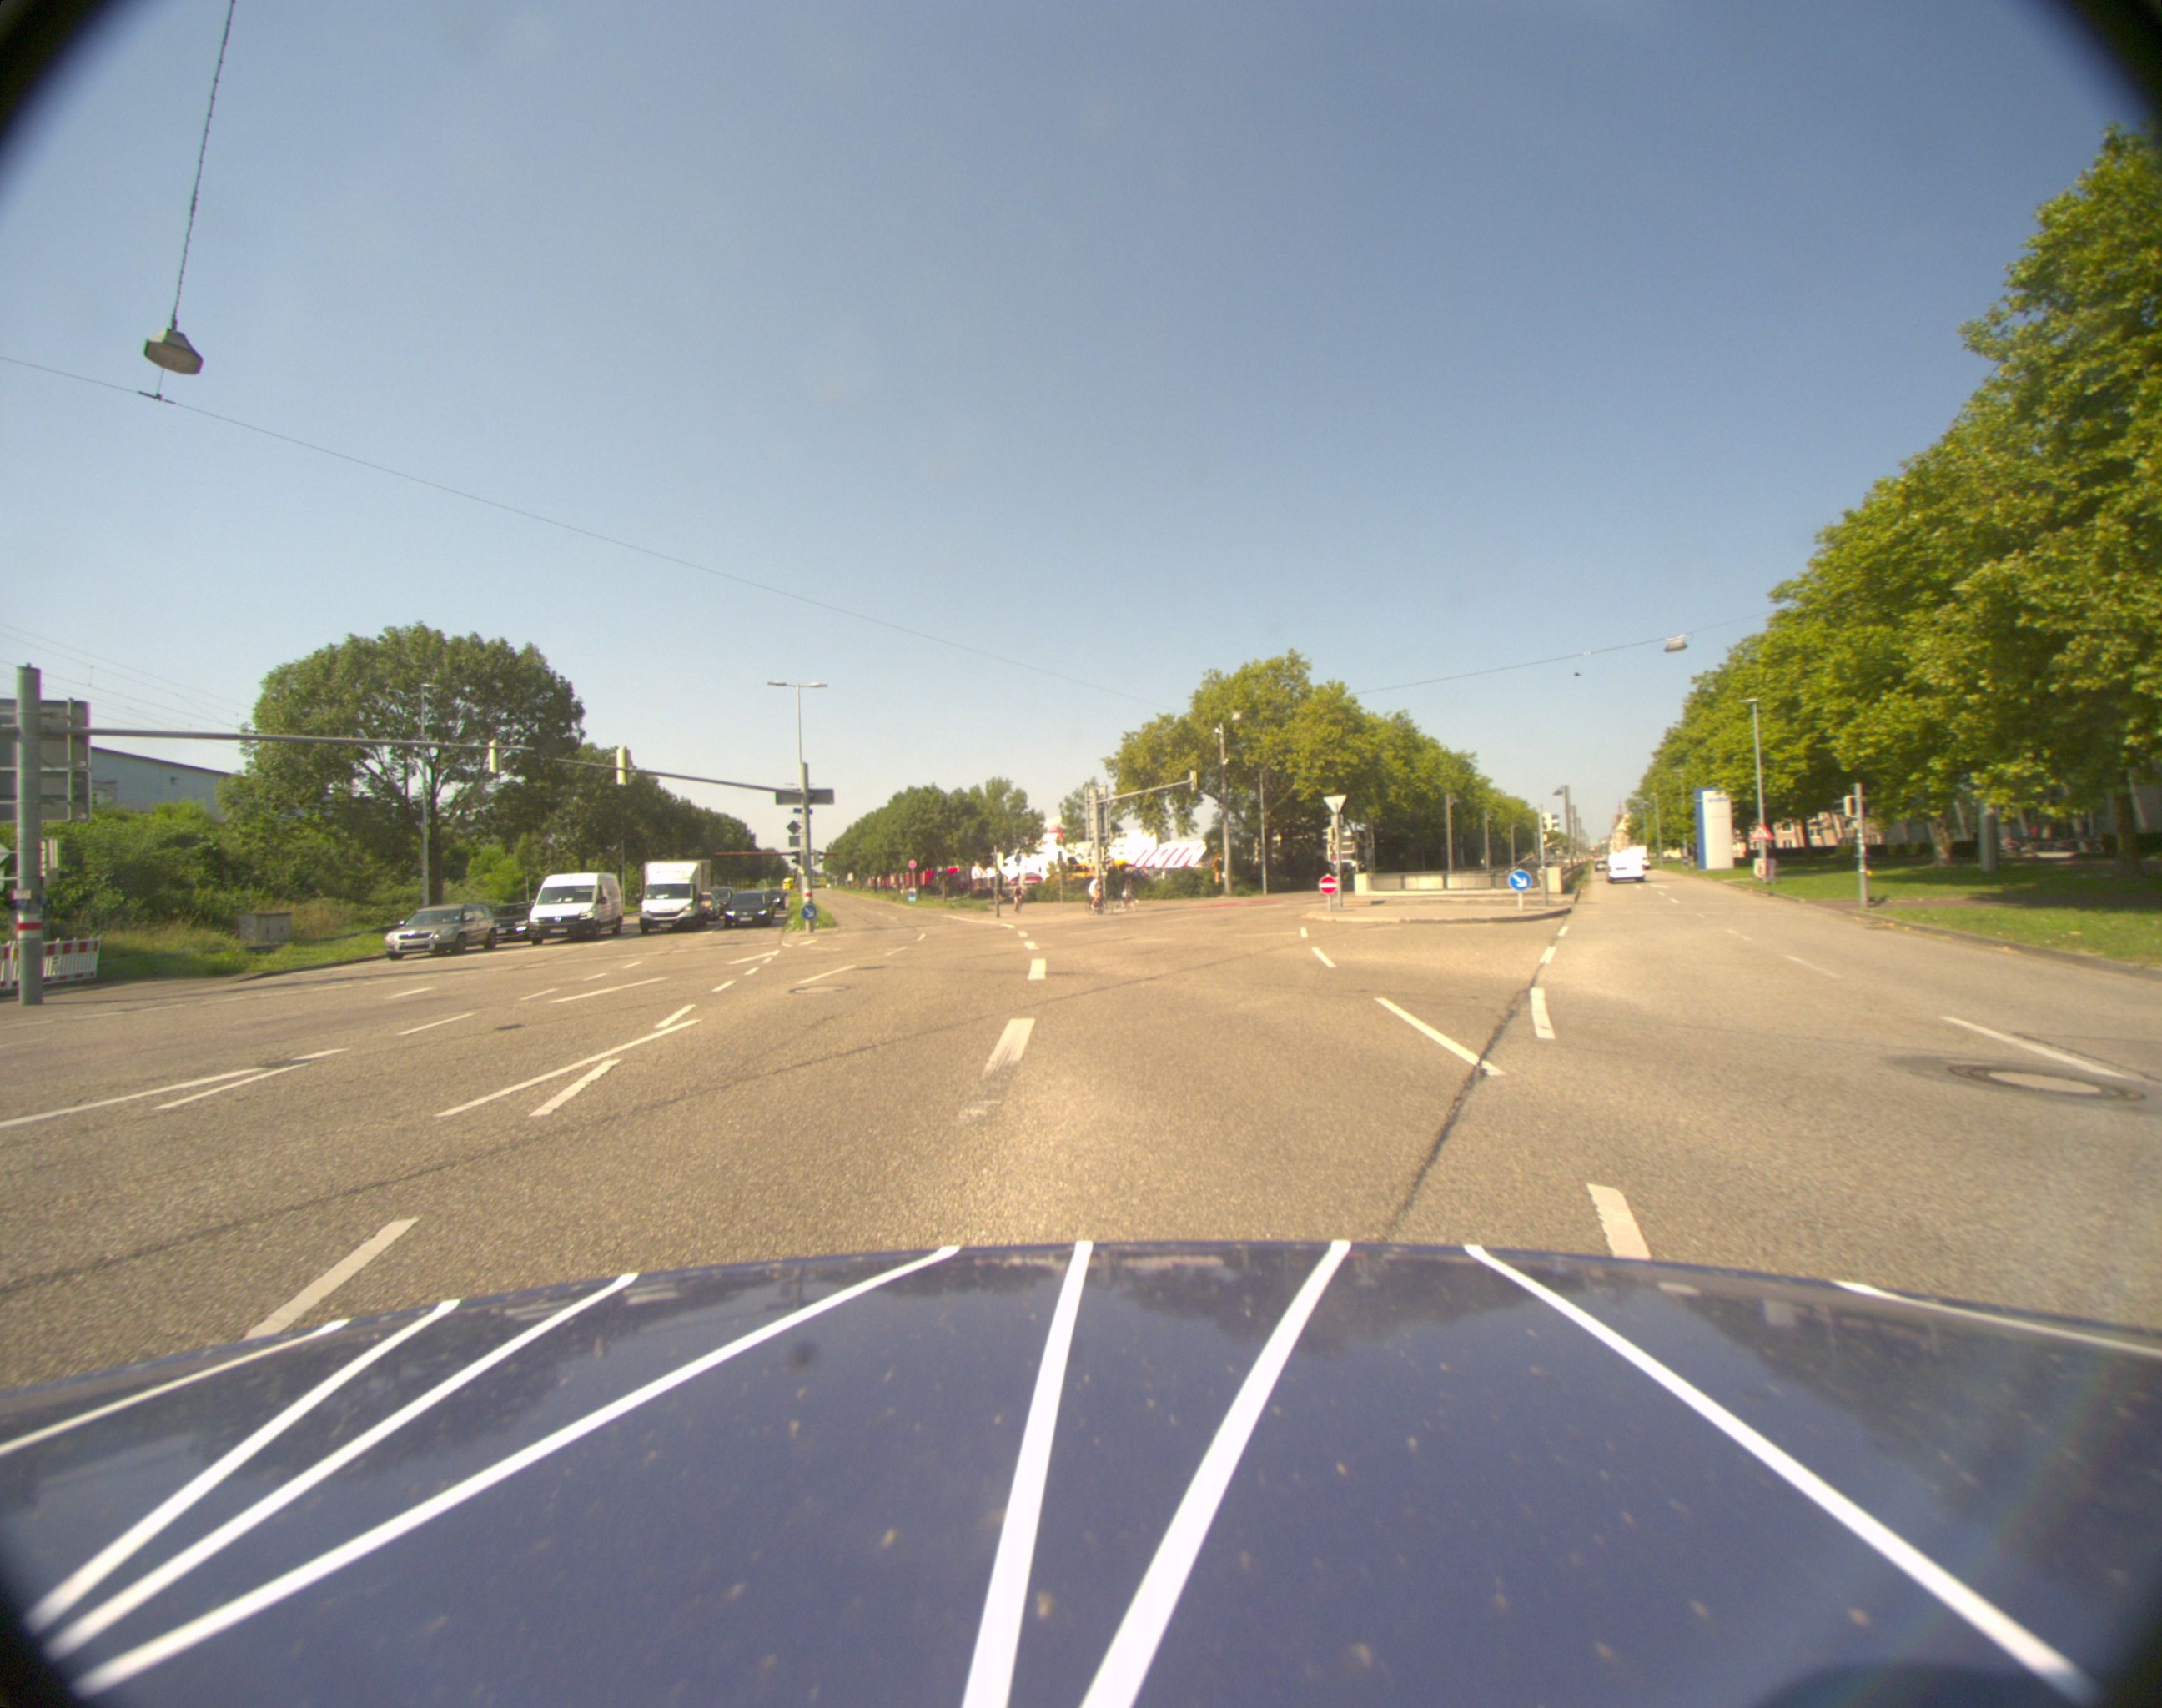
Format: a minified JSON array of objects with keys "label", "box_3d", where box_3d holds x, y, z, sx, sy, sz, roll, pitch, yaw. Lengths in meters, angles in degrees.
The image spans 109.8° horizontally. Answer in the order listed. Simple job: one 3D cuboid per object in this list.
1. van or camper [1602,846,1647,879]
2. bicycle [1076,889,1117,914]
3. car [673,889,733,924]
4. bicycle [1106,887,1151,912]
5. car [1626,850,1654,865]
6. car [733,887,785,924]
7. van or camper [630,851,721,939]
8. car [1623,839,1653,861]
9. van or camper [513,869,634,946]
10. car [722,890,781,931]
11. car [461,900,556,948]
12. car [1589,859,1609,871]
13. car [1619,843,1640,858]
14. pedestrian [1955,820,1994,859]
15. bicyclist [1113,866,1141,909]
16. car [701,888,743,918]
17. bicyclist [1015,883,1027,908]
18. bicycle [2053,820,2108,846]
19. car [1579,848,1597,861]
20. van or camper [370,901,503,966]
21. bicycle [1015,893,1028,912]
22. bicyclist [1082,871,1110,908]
[{"label":"van or camper","box_3d":[34.389,0.560,48.153,1.842,1.935,4.958,-1,-1,30]},{"label":"bicycle","box_3d":[0.685,2.172,34.813,0.774,1.080,2.216,-2,-3,-32]},{"label":"car","box_3d":[-20.605,2.881,41.654,2.168,1.599,4.970,-4,-3,-18]},{"label":"bicycle","box_3d":[2.293,2.218,36.789,0.774,1.081,2.258,-5,-1,-38]},{"label":"car","box_3d":[59.635,0.358,81.088,1.995,1.444,4.008,-6,-3,33]},{"label":"car","box_3d":[-17.794,2.869,42.185,2.147,1.729,5.219,-4,-3,-18]},{"label":"van or camper","box_3d":[-17.597,1.835,33.377,2.251,3.341,6.844,-4,-3,-18]},{"label":"car","box_3d":[62.310,-0.409,85.068,2.287,2.219,4.665,-6,-3,33]},{"label":"van or camper","box_3d":[-19.435,2.077,29.508,2.251,2.467,6.858,-4,-3,-20]},{"label":"car","box_3d":[-15.100,2.592,35.061,1.907,1.603,5.191,-4,-3,-18]},{"label":"car","box_3d":[-22.875,2.735,30.550,2.002,1.542,3.994,-3,-1,-22]},{"label":"car","box_3d":[60.128,1.250,88.256,1.658,1.213,3.902,-6,-3,31]},{"label":"car","box_3d":[84.457,-0.490,117.000,2.287,2.066,4.665,-6,-3,33]},{"label":"pedestrian","box_3d":[49.072,-0.781,41.742,0.947,2.001,1.351,-6,-3,36]},{"label":"bicyclist","box_3d":[2.238,1.622,36.844,0.599,2.001,1.202,-3,-2,-37]},{"label":"car","box_3d":[-22.620,3.091,47.964,1.657,1.654,3.752,-4,-3,-16]},{"label":"bicyclist","box_3d":[-3.431,2.388,43.572,0.502,1.356,0.697,-5,-2,2]},{"label":"bicycle","box_3d":[70.167,-1.464,53.348,2.165,1.545,0.602,-6,-3,27]},{"label":"car","box_3d":[88.250,0.050,132.258,1.995,2.001,4.008,-6,-3,29]},{"label":"van or camper","box_3d":[-20.557,2.494,24.482,1.853,1.765,4.170,-4,-3,-20]},{"label":"bicycle","box_3d":[-3.396,2.771,43.426,0.572,1.049,1.494,-4,-3,1]},{"label":"bicyclist","box_3d":[0.682,1.635,34.709,0.599,1.584,1.203,-3,-3,-32]}]
